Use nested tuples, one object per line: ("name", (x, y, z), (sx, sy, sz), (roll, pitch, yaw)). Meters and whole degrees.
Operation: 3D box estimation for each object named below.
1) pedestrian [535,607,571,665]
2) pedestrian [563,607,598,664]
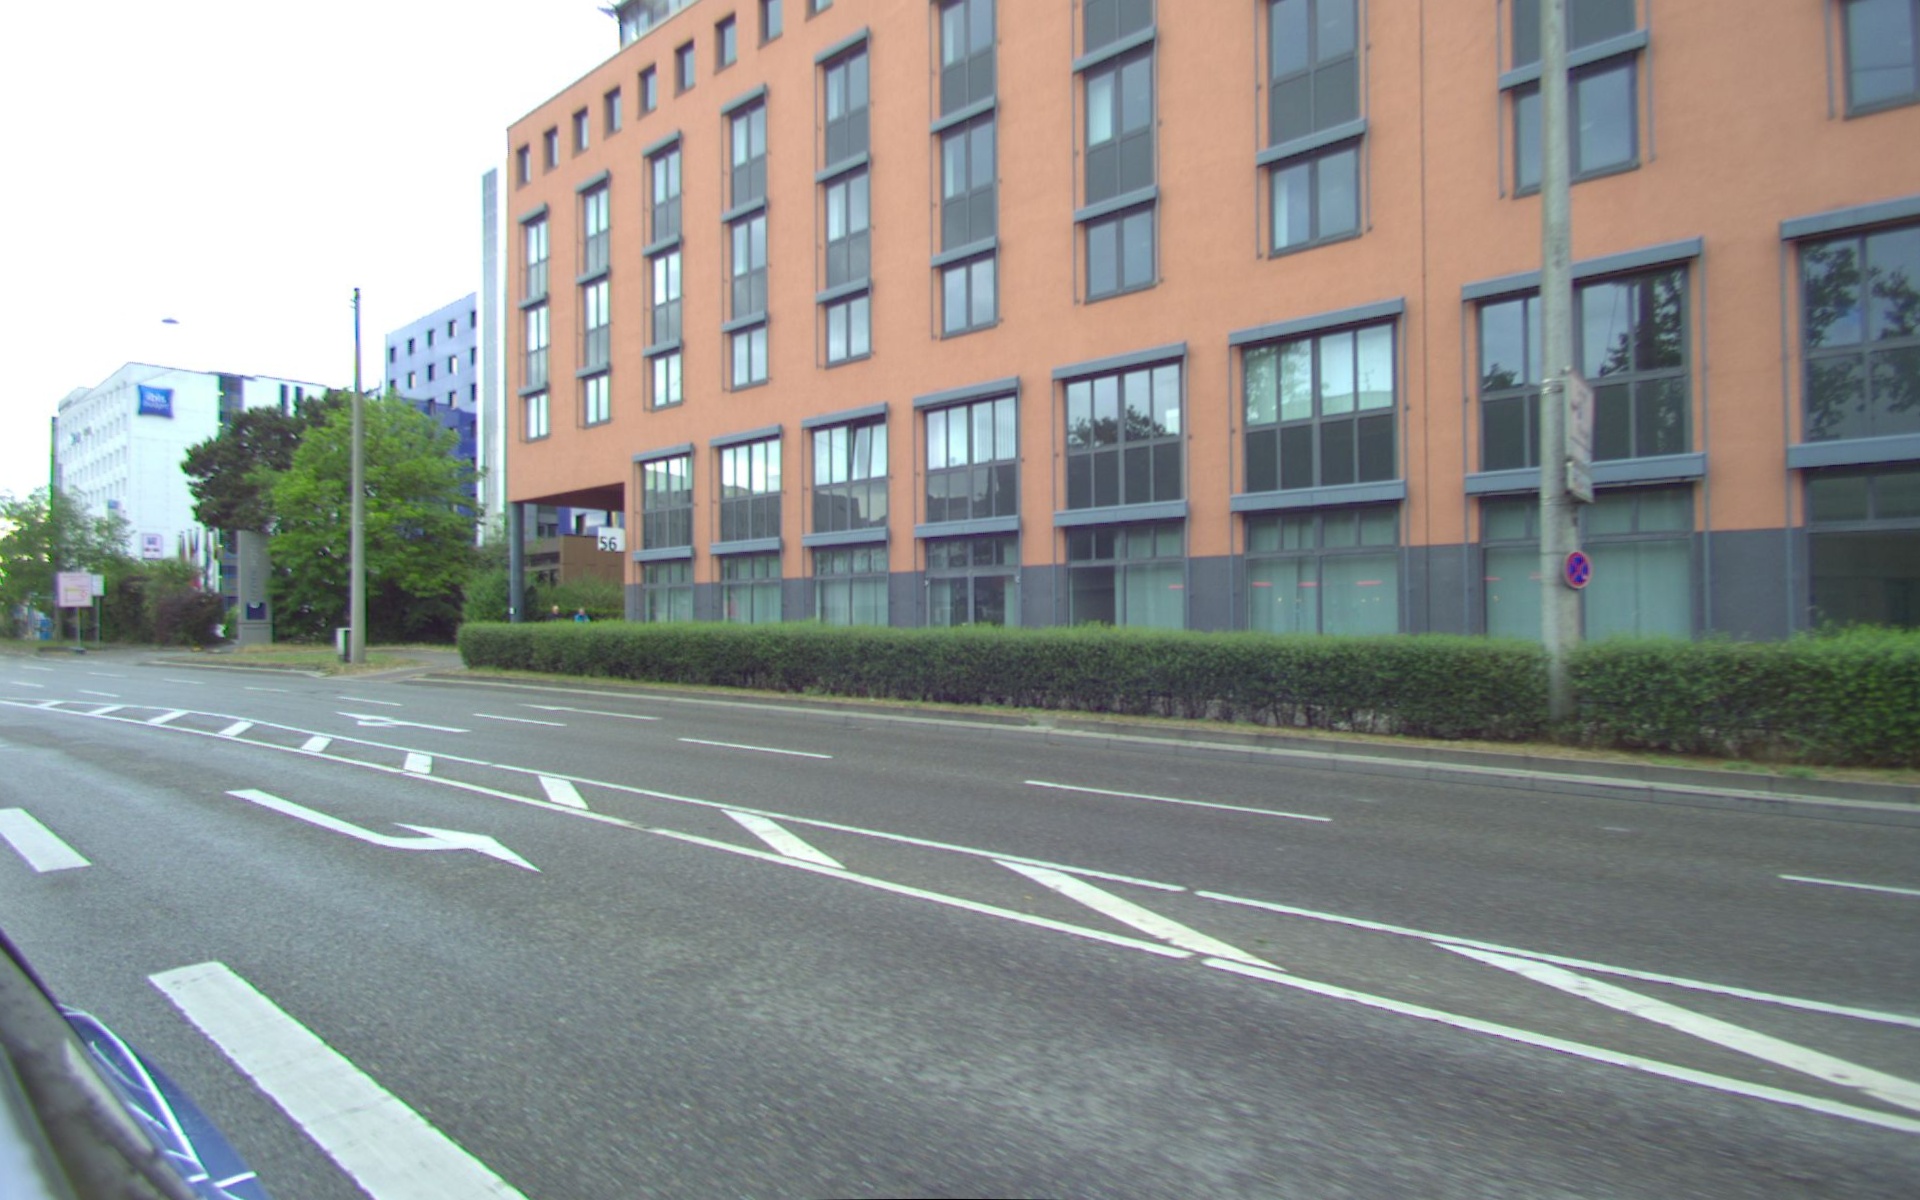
("pedestrian", (-13.308, 1.165, 33.092), (0.885, 1.855, 0.738), (-1, 0, 40))
("pedestrian", (-12.600, 1.165, 33.622), (0.885, 1.855, 0.738), (-1, 0, 40))
